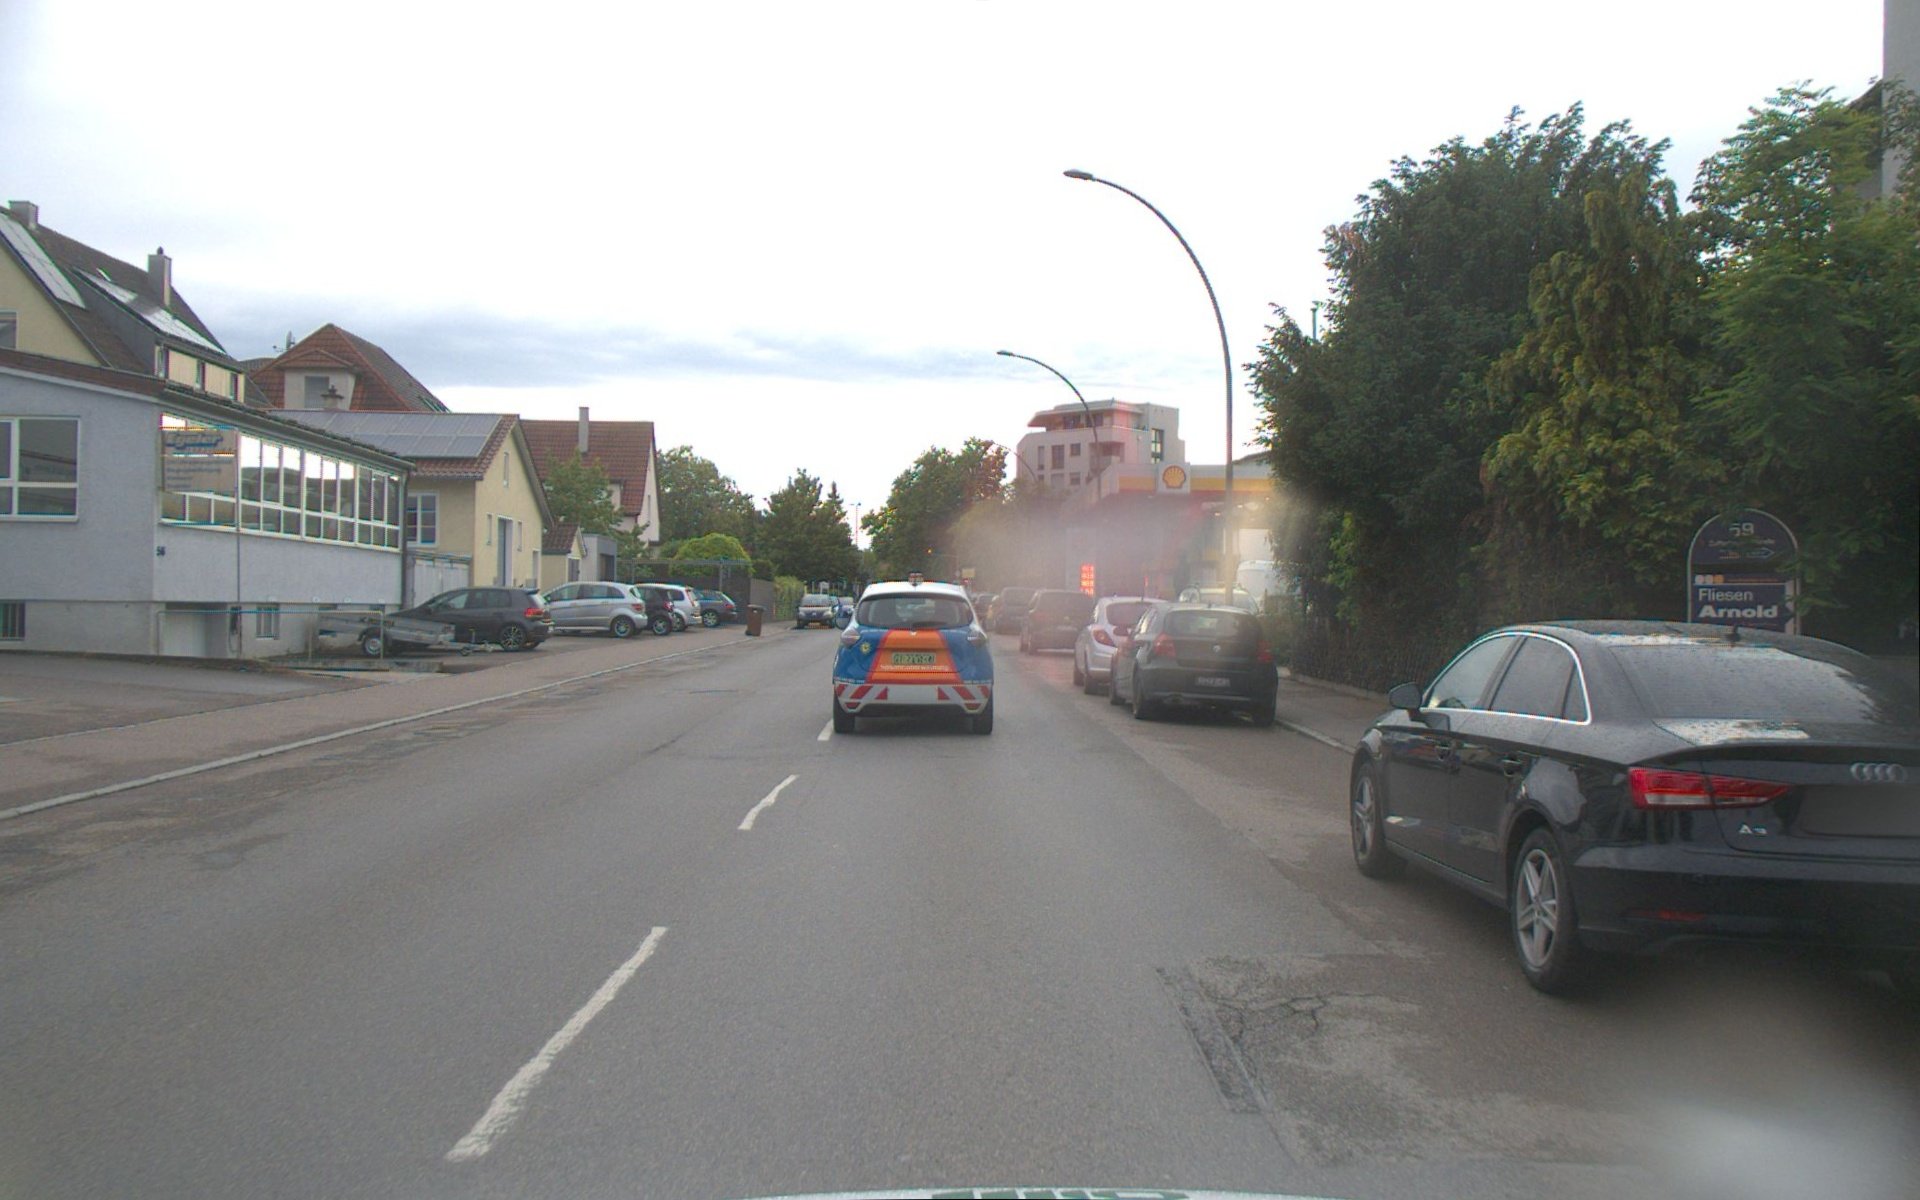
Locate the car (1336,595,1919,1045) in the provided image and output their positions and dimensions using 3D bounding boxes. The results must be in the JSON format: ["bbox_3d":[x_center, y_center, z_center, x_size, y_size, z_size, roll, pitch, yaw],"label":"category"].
[{"bbox_3d":[3.048,0.713,7.474,1.716,1.443,4.109,0,0,-1],"label":"car"}]

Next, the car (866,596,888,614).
[{"bbox_3d":[-7.010,0.441,139.207,1.593,1.458,3.684,0,0,1],"label":"car"}]

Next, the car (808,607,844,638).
[{"bbox_3d":[-6.673,1.106,82.503,1.514,1.427,3.596,-1,0,-1],"label":"car"}]

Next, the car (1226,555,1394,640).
[{"bbox_3d":[10.892,-0.073,51.547,4.723,2.564,2.232,0,0,-23],"label":"car"}]

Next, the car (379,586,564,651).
[{"bbox_3d":[-11.312,0.411,38.520,3.795,1.463,1.767,0,0,-2],"label":"car"}]

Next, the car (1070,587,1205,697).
[{"bbox_3d":[2.718,0.595,26.084,1.702,1.528,3.881,2,0,1],"label":"car"}]

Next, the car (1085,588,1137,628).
[{"bbox_3d":[6.975,0.359,76.720,1.783,1.790,3.997,0,0,-3],"label":"car"}]

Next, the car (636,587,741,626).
[{"bbox_3d":[-10.704,0.256,65.483,4.006,1.438,1.711,2,0,-7],"label":"car"}]

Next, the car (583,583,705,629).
[{"bbox_3d":[-10.903,0.191,57.357,4.006,1.540,1.881,0,0,-7],"label":"car"}]

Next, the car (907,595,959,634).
[{"bbox_3d":[-1.199,0.632,75.187,1.952,1.601,4.002,2,1,4],"label":"car"}]

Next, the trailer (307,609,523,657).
[{"bbox_3d":[-11.762,0.702,35.910,4.113,0.959,1.793,1,0,-4],"label":"trailer"}]

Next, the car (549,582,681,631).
[{"bbox_3d":[-11.087,0.212,53.411,4.006,1.529,1.754,0,0,-7],"label":"car"}]

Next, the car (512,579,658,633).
[{"bbox_3d":[-11.096,0.169,49.155,4.006,1.559,1.997,0,0,-7],"label":"car"}]

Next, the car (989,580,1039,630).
[{"bbox_3d":[2.062,0.192,64.169,1.623,1.768,4.443,3,0,-1],"label":"car"}]

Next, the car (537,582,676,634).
[{"bbox_3d":[-10.948,0.249,51.470,4.004,1.559,1.812,1,0,-5],"label":"car"}]

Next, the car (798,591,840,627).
[{"bbox_3d":[-6.319,0.397,74.231,1.576,1.532,3.706,-1,0,-1],"label":"car"}]

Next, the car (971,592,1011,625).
[{"bbox_3d":[1.383,0.367,74.246,1.622,1.426,3.800,1,0,-1],"label":"car"}]

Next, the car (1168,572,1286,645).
[{"bbox_3d":[6.527,0.190,40.859,1.955,1.712,3.996,0,0,-5],"label":"car"}]

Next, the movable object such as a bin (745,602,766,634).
[{"bbox_3d":[-7.354,0.657,59.419,0.584,1.075,0.687,5,1,-1],"label":"movable object such as a bin"}]

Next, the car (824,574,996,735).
[{"bbox_3d":[-0.523,0.526,18.476,1.710,1.608,3.999,0,0,-1],"label":"car"}]

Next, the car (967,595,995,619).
[{"bbox_3d":[1.465,0.490,117.208,1.828,1.694,4.319,1,0,-1],"label":"car"}]

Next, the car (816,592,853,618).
[{"bbox_3d":[-6.980,0.270,92.456,1.770,1.427,3.944,-1,0,-1],"label":"car"}]

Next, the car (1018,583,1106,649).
[{"bbox_3d":[2.548,0.374,42.264,1.953,1.624,3.999,0,0,-1],"label":"car"}]

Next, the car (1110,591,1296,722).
[{"bbox_3d":[2.975,0.646,20.931,1.702,1.427,3.718,2,0,-1],"label":"car"}]

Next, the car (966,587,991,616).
[{"bbox_3d":[1.410,0.099,123.304,1.741,2.064,4.755,2,1,2],"label":"car"}]

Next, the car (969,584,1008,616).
[{"bbox_3d":[1.608,-0.030,95.780,2.048,1.691,4.558,2,1,-1],"label":"car"}]
